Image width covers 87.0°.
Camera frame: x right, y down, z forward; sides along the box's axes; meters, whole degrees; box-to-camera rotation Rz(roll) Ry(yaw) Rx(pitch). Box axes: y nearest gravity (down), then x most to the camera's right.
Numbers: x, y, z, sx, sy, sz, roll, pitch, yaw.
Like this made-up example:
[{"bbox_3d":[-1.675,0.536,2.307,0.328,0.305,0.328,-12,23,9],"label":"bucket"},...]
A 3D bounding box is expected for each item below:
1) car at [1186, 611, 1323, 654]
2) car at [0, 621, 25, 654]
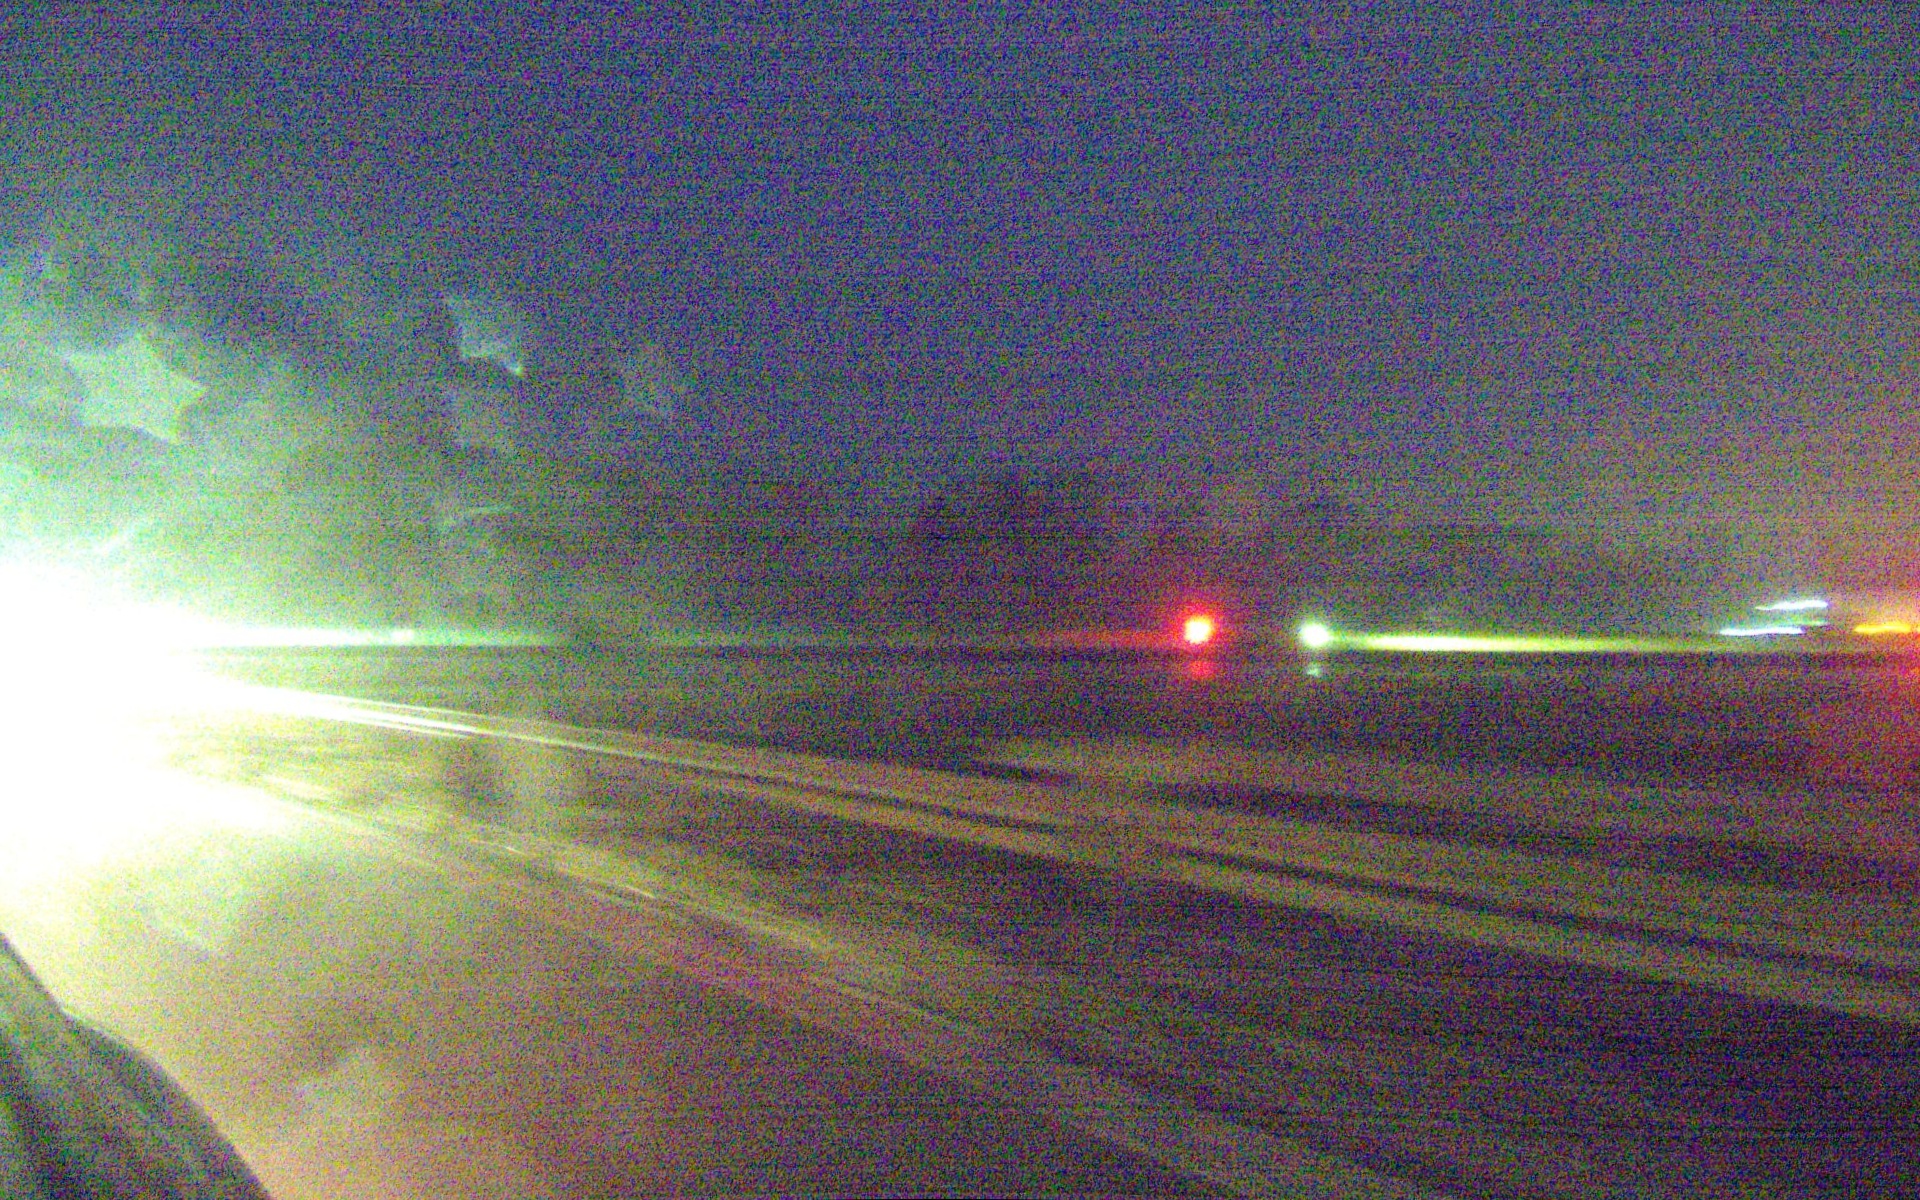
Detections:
[{"bbox_3d":[11.035,1.198,38.257,4.813,1.492,1.761,0,2,11],"label":"car"},{"bbox_3d":[-47.497,1.796,48.496,4.064,1.552,1.884,-1,0,10],"label":"car"}]
